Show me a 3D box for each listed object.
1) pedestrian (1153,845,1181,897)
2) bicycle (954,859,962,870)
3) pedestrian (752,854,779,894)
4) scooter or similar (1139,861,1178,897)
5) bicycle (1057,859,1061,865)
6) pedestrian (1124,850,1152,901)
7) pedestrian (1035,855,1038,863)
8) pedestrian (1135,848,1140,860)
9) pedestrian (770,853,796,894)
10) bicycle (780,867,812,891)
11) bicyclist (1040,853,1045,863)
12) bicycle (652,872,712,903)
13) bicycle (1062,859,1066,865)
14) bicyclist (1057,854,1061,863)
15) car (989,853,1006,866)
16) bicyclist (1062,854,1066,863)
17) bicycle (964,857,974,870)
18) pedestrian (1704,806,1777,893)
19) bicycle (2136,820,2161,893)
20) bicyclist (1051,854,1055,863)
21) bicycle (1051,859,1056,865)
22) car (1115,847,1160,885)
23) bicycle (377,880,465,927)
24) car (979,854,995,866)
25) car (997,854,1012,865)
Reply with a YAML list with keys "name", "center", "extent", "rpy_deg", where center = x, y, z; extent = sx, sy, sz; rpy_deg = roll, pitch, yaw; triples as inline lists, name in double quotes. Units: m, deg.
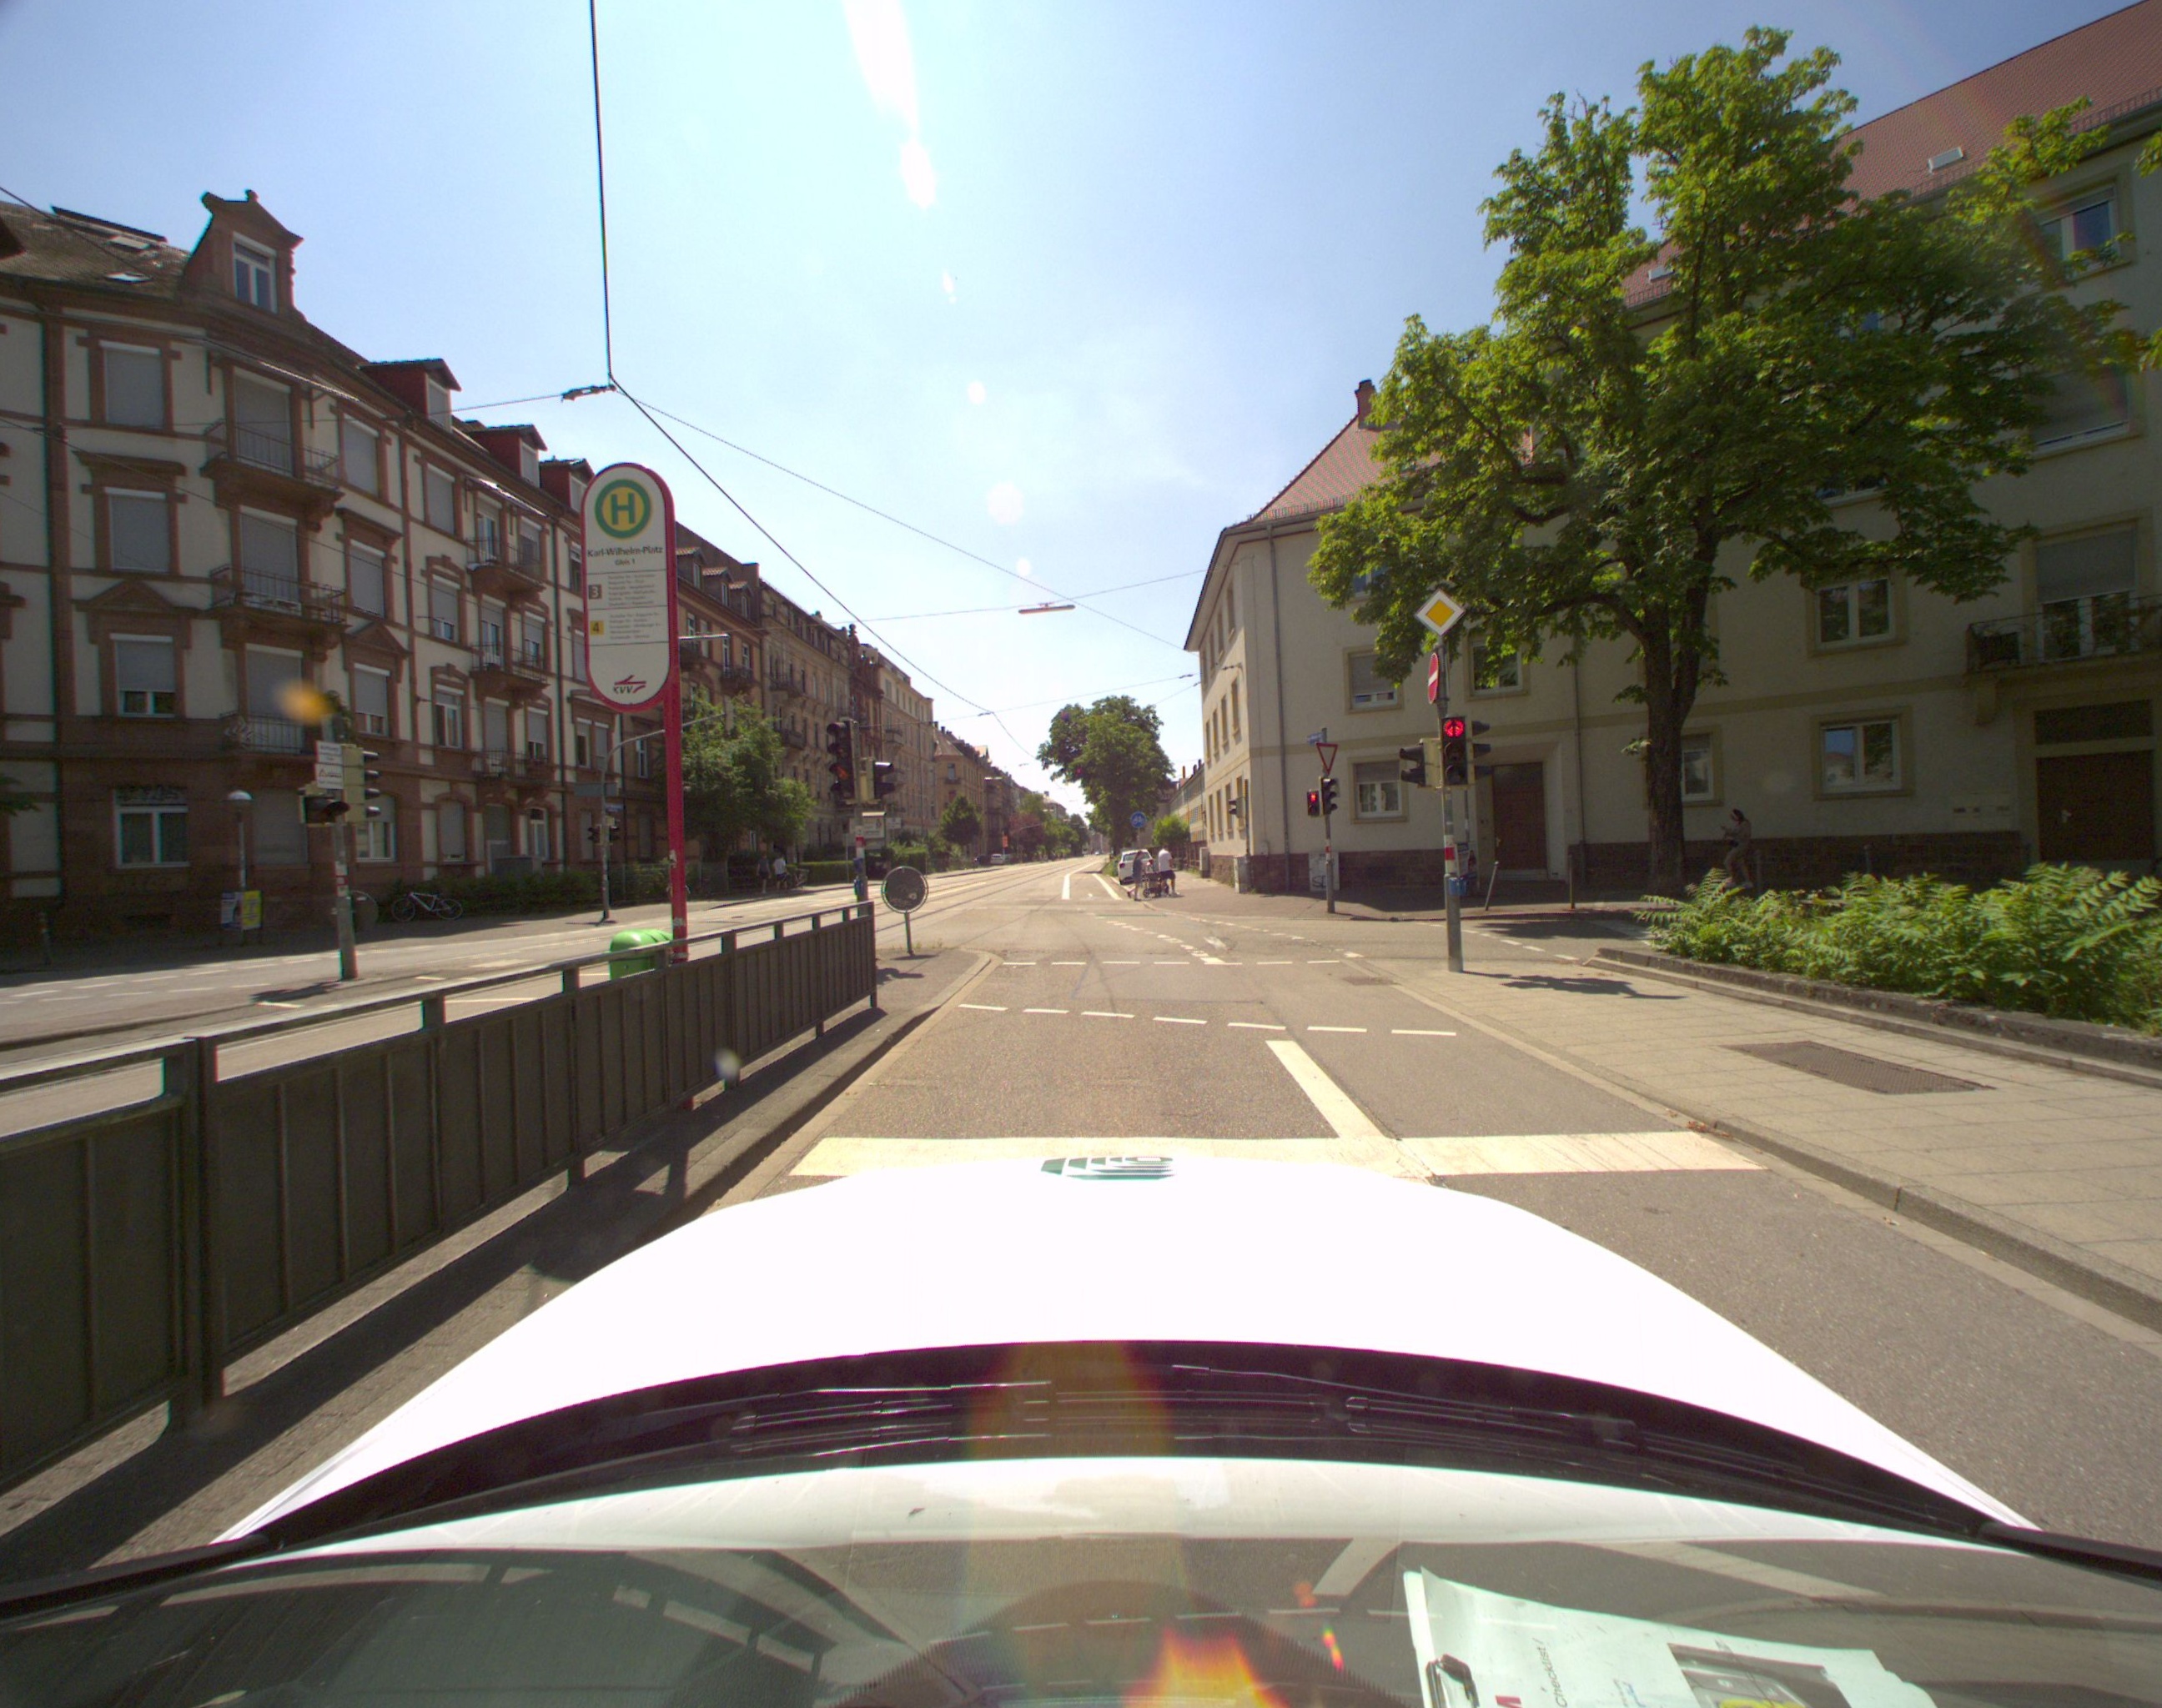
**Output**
- name: "pedestrian"
  center: [2.747, 0.544, 26.080]
  extent: [0.679, 1.645, 0.553]
  rpy_deg: [0, -1, -31]
- name: "bicycle"
  center: [-12.151, 1.028, 80.503]
  extent: [0.677, 1.064, 1.912]
  rpy_deg: [-2, 0, -9]
- name: "pedestrian"
  center: [-14.391, 0.898, 37.193]
  extent: [0.812, 1.822, 0.874]
  rpy_deg: [0, 1, 4]
- name: "scooter or similar"
  center: [2.565, 0.811, 26.916]
  extent: [1.211, 1.155, 0.552]
  rpy_deg: [0, -1, -38]
- name: "bicycle"
  center: [-4.760, 1.699, 175.356]
  extent: [0.724, 1.123, 2.087]
  rpy_deg: [0, -1, 4]
- name: "pedestrian"
  center: [1.843, 0.688, 26.398]
  extent: [0.679, 1.645, 0.553]
  rpy_deg: [0, -1, -31]
- name: "pedestrian"
  center: [-8.105, 0.980, 147.774]
  extent: [0.404, 1.461, 0.436]
  rpy_deg: [-2, 0, 1]
- name: "pedestrian"
  center: [7.393, -0.041, 106.186]
  extent: [0.519, 1.562, 0.573]
  rpy_deg: [-2, 0, 1]
- name: "pedestrian"
  center: [-13.622, 0.887, 37.242]
  extent: [0.812, 1.822, 0.874]
  rpy_deg: [0, 1, 4]
- name: "bicycle"
  center: [-14.396, 1.253, 41.260]
  extent: [0.936, 1.136, 2.767]
  rpy_deg: [0, -1, -7]
- name: "bicyclist"
  center: [-6.395, 0.666, 135.023]
  extent: [0.724, 1.629, 1.080]
  rpy_deg: [0, -1, 3]
- name: "bicycle"
  center: [-15.670, 1.299, 32.086]
  extent: [0.934, 1.136, 2.774]
  rpy_deg: [0, -1, 1]
- name: "bicycle"
  center: [-3.580, 1.691, 175.202]
  extent: [0.724, 1.123, 2.087]
  rpy_deg: [0, -1, 4]
- name: "bicyclist"
  center: [-4.767, 1.009, 175.345]
  extent: [0.724, 1.818, 1.080]
  rpy_deg: [0, -1, 3]
- name: "car"
  center: [-11.876, 0.808, 116.069]
  extent: [1.912, 1.715, 4.001]
  rpy_deg: [0, -1, 2]
- name: "bicyclist"
  center: [-3.578, 0.968, 175.206]
  extent: [0.724, 1.818, 1.080]
  rpy_deg: [0, -1, 3]
- name: "bicycle"
  center: [-11.707, 0.955, 85.140]
  extent: [0.675, 1.278, 1.918]
  rpy_deg: [-2, 0, -1]
- name: "pedestrian"
  center: [13.842, -0.099, 17.123]
  extent: [1.043, 1.690, 0.658]
  rpy_deg: [-5, 3, 37]
- name: "bicycle"
  center: [17.009, 0.020, 12.086]
  extent: [0.527, 1.104, 1.589]
  rpy_deg: [-2, 0, -34]
- name: "bicyclist"
  center: [-5.279, 0.825, 154.699]
  extent: [0.724, 1.768, 1.080]
  rpy_deg: [0, -1, 3]
- name: "bicycle"
  center: [-5.271, 1.516, 154.733]
  extent: [0.724, 1.123, 2.087]
  rpy_deg: [0, -1, 4]
- name: "car"
  center: [2.526, 0.529, 37.417]
  extent: [1.808, 1.516, 4.001]
  rpy_deg: [-4, -1, 2]
- name: "bicycle"
  center: [-19.555, 1.437, 24.164]
  extent: [0.557, 1.294, 1.975]
  rpy_deg: [-1, -1, 43]
- name: "car"
  center: [-14.328, 0.894, 124.471]
  extent: [1.912, 1.715, 4.001]
  rpy_deg: [0, -1, 2]
- name: "car"
  center: [-11.655, 0.873, 124.333]
  extent: [1.912, 1.715, 4.001]
  rpy_deg: [0, -1, 2]
